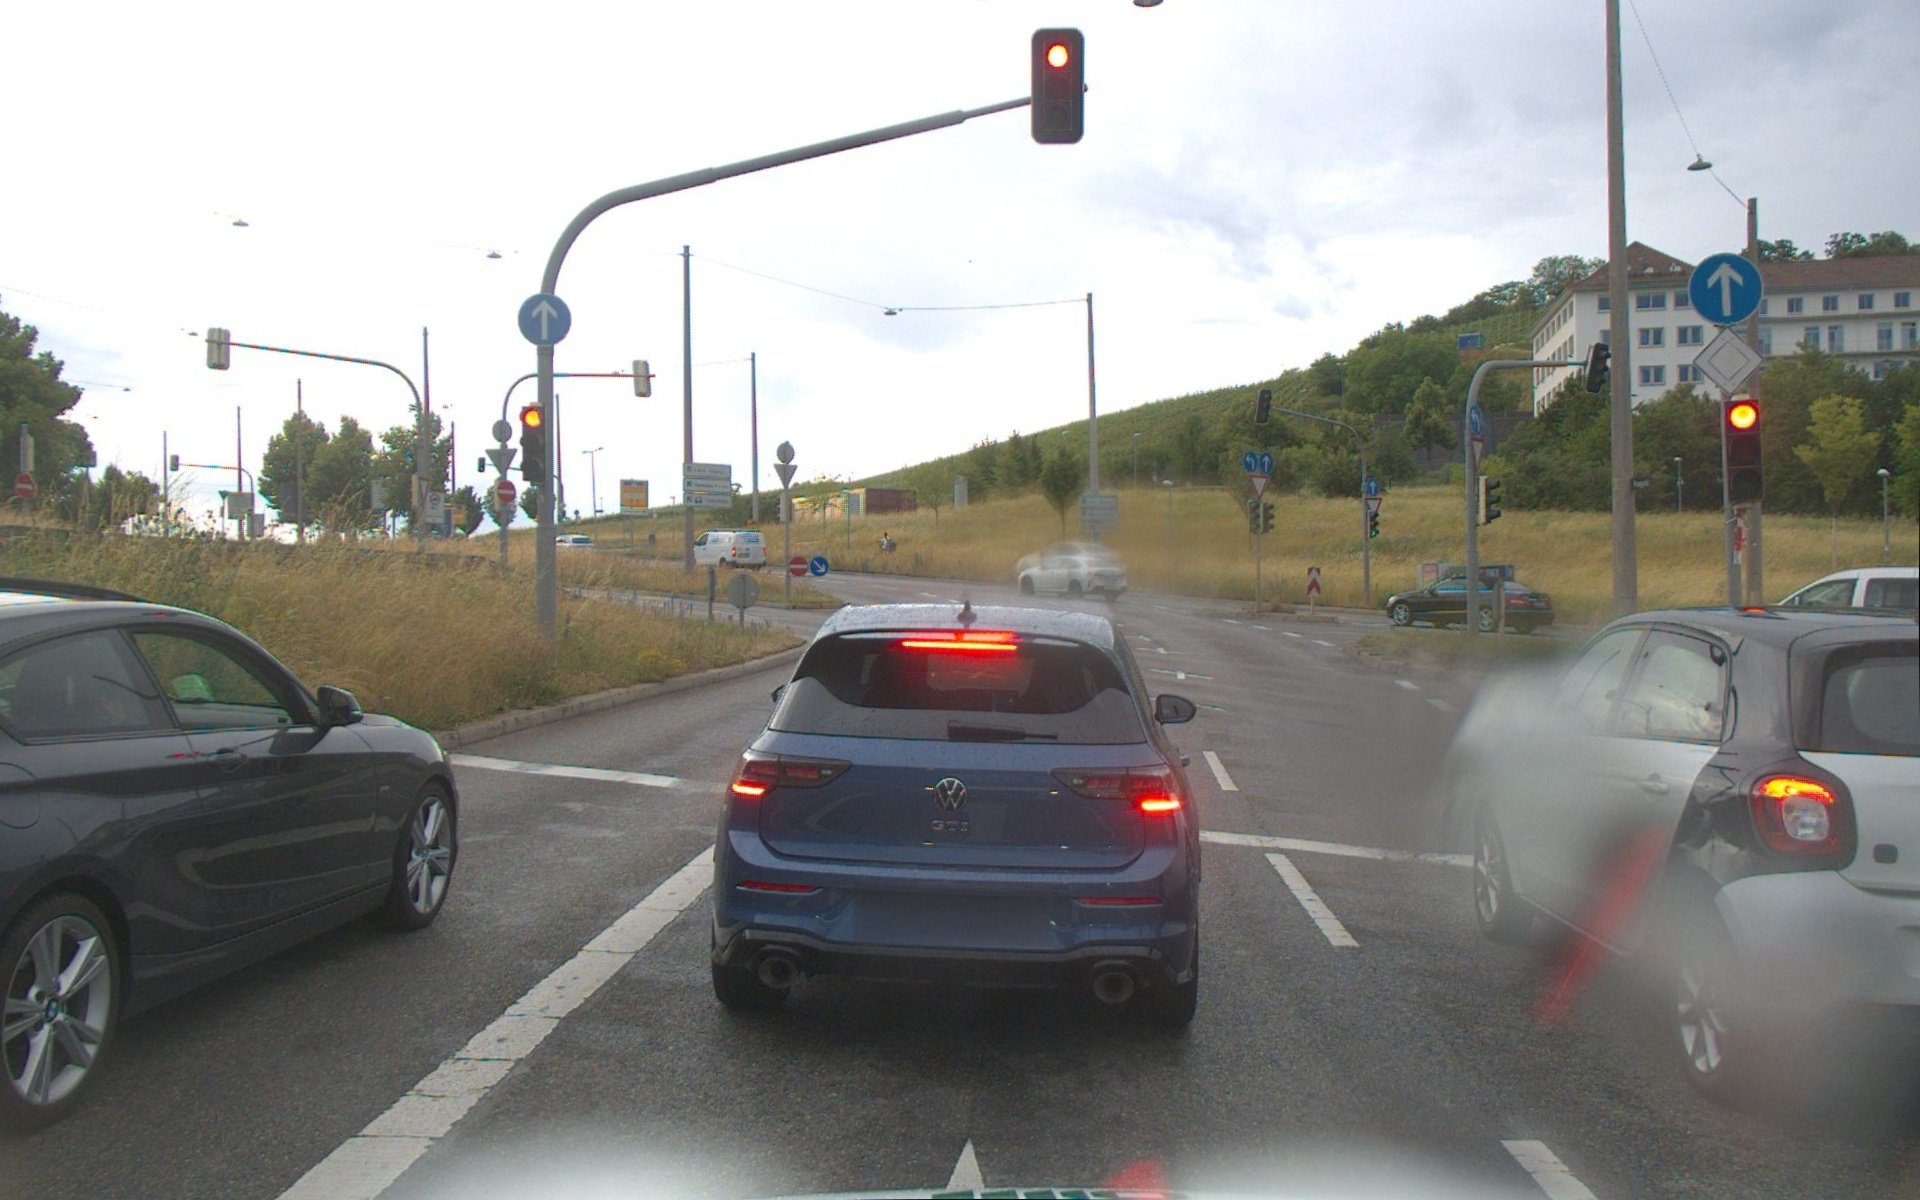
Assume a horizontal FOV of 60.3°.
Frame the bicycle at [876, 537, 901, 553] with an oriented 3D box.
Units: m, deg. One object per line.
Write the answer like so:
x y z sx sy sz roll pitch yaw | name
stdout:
-3.888 -2.973 89.419 0.514 0.788 1.600 3 1 -37 | bicycle

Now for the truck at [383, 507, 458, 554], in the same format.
-39.000 -5.026 119.484 3.233 3.128 6.097 4 0 -37 | truck

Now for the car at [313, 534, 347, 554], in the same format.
-58.233 -5.182 152.807 1.975 1.688 4.492 1 -1 -33 | car

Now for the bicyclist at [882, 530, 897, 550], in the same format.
-3.824 -3.249 89.345 0.519 1.065 0.573 3 0 -37 | bicyclist

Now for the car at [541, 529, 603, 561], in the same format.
-22.570 -3.156 96.047 1.977 1.688 4.488 1 -1 -35 | car

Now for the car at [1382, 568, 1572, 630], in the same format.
13.380 -0.018 43.015 1.977 1.503 4.446 1 -1 -35 | car

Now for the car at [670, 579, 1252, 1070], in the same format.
0.102 0.671 7.030 1.787 1.486 3.810 1 1 3 | car

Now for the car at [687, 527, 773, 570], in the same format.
-10.893 -2.413 78.100 2.111 1.826 4.682 1 -1 -35 | car

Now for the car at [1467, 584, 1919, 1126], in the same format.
3.215 0.748 6.393 1.623 1.529 3.452 1 -1 3 | car

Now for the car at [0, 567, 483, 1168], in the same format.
-3.140 0.671 5.637 1.667 1.485 4.115 0 -1 2 | car

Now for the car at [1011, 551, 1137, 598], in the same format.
3.869 -0.838 56.827 1.979 1.503 4.363 1 -1 -37 | car

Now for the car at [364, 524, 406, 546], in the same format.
-46.995 -5.299 135.114 1.977 1.688 4.489 2 1 -35 | car

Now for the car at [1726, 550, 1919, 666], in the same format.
15.741 0.149 28.124 1.806 1.882 4.628 1 -1 -41 | car
